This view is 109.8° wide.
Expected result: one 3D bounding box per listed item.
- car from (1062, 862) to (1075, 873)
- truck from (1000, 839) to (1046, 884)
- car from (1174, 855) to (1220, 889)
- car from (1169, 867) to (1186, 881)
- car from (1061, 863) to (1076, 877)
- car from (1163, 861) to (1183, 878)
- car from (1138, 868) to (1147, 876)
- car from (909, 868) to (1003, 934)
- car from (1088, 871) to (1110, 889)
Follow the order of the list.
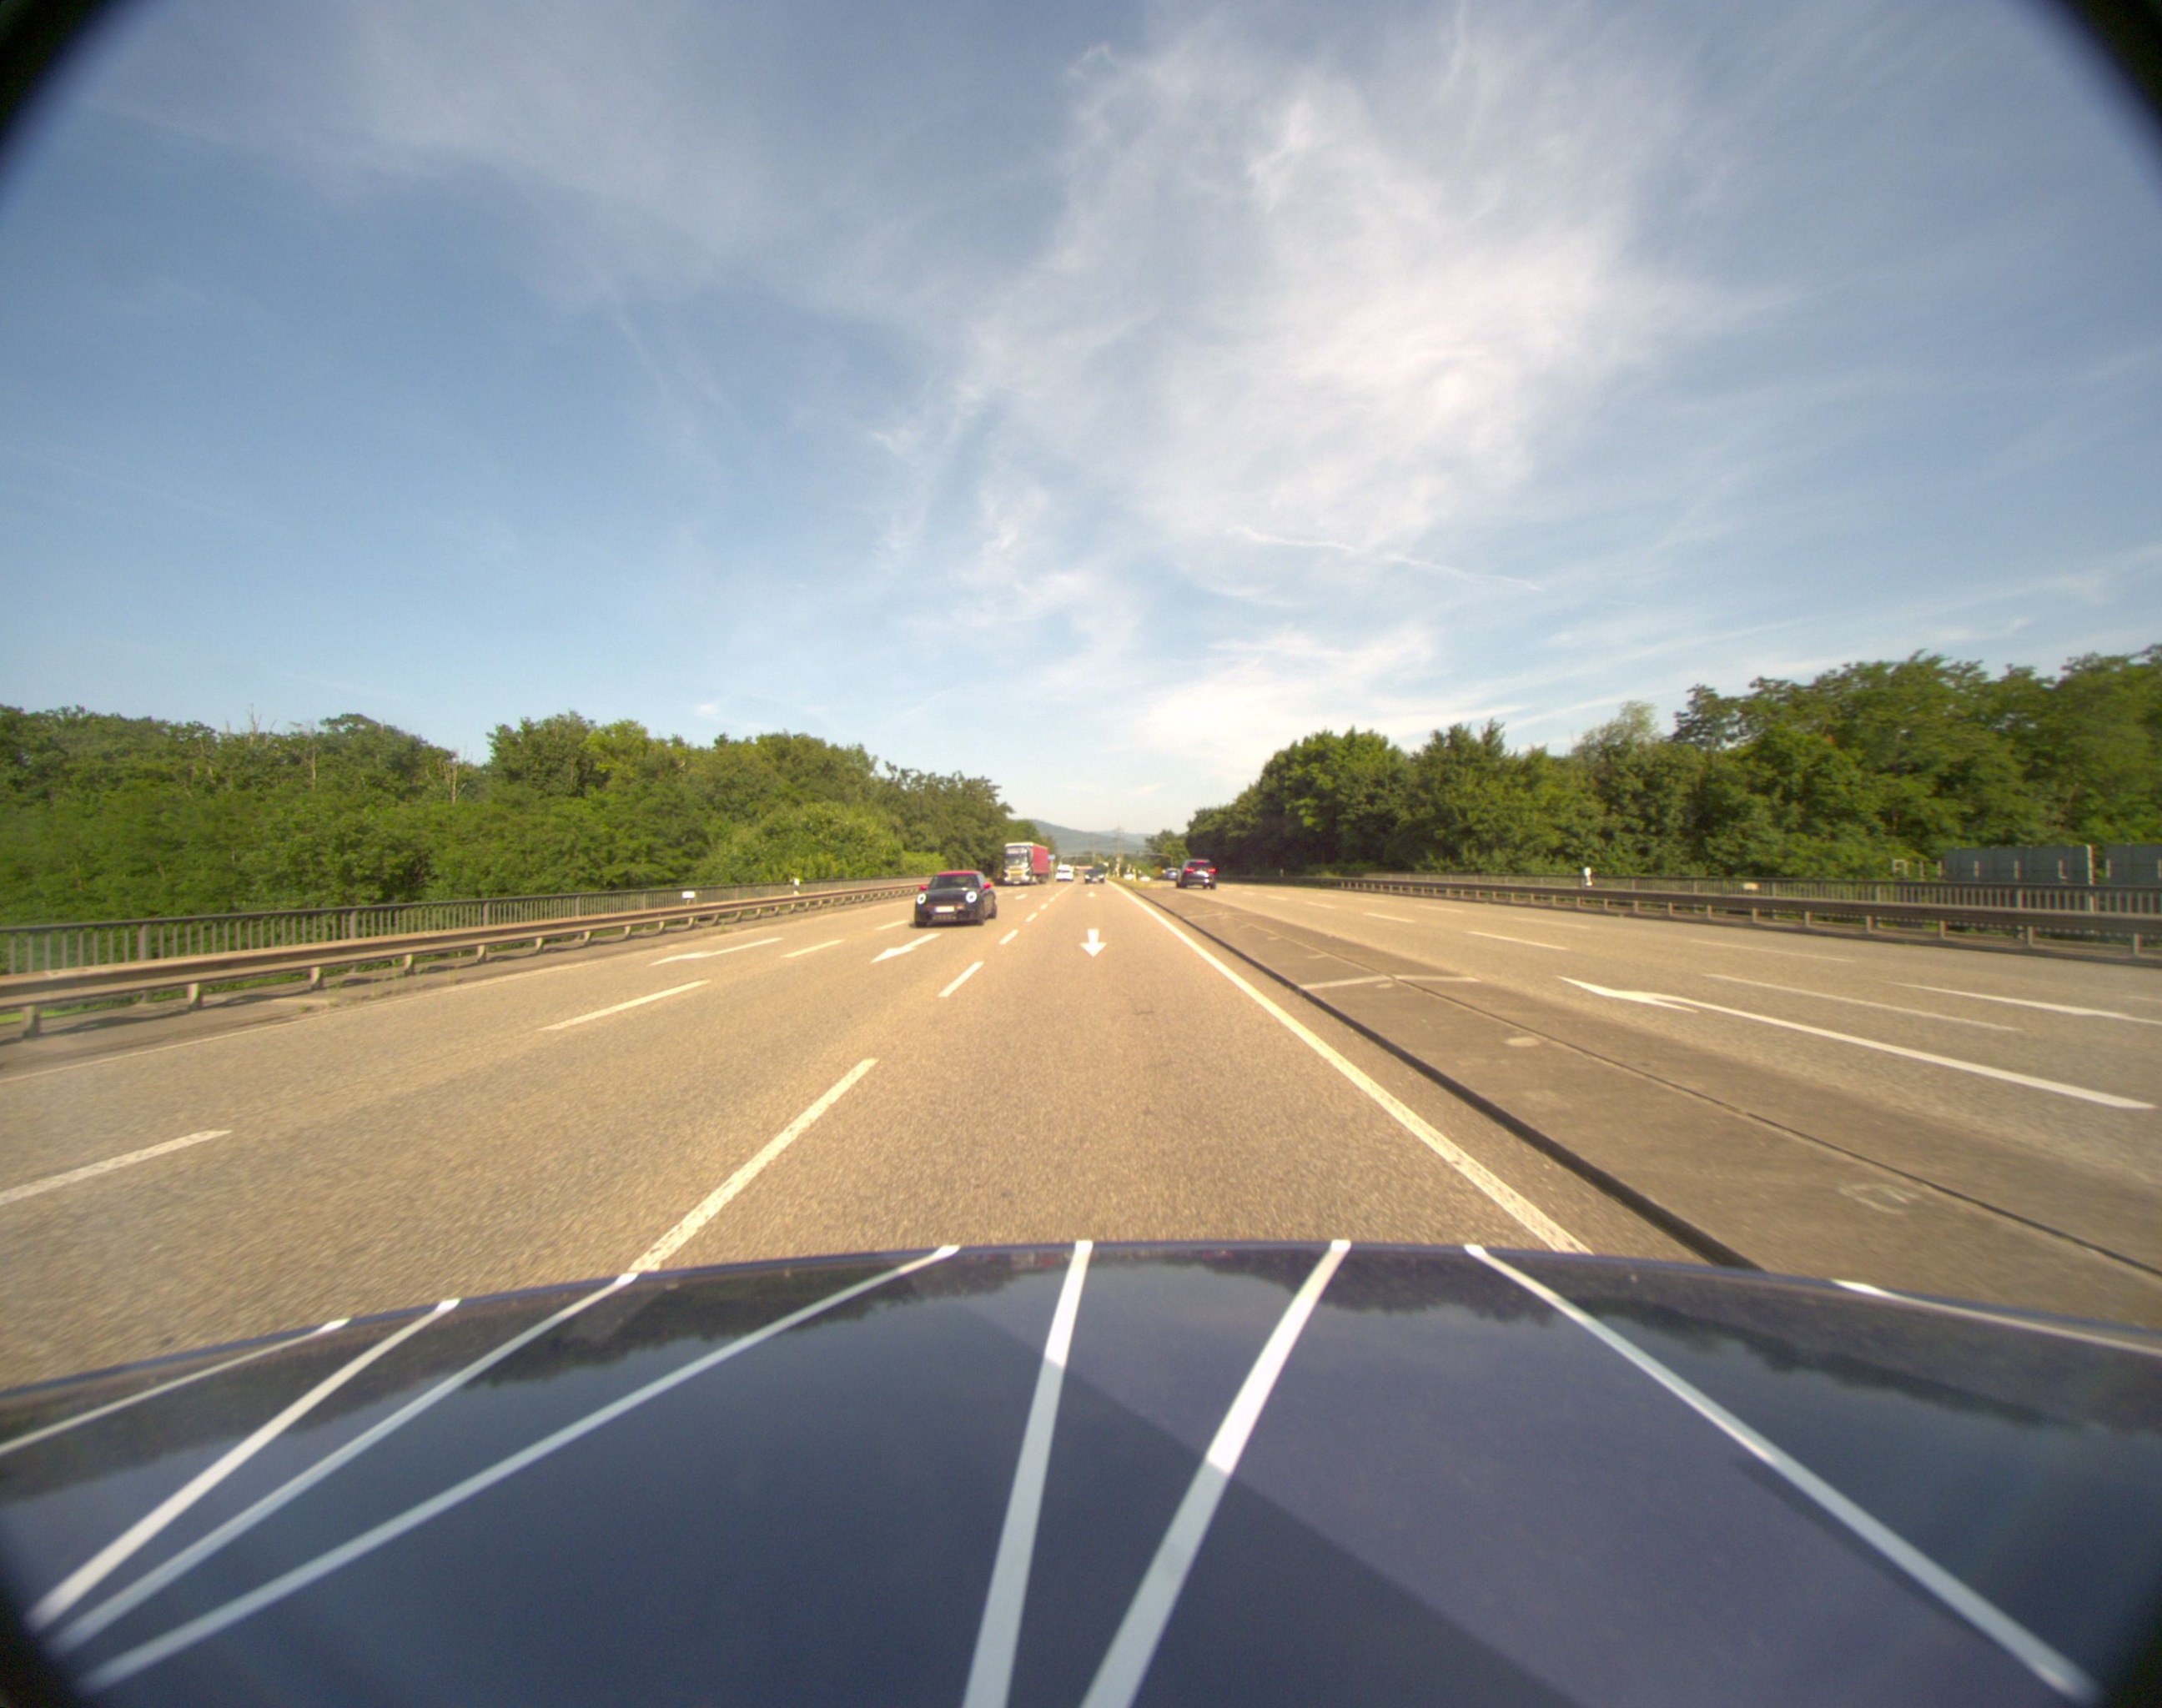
[{"bbox_3d":[-1.979,2.062,120.456,1.875,1.625,4.833,0,1,0],"label":"car"},{"bbox_3d":[-5.674,0.602,76.697,3.196,3.996,14.562,-2,1,1],"label":"truck"},{"bbox_3d":[6.943,1.031,45.962,1.998,1.818,4.618,-2,1,0],"label":"car"},{"bbox_3d":[13.963,2.846,110.382,1.919,1.818,4.419,-2,1,0],"label":"car"},{"bbox_3d":[-1.548,2.041,97.147,1.875,1.625,4.833,0,1,0],"label":"car"},{"bbox_3d":[11.252,1.882,93.362,1.919,1.818,4.419,-2,1,0],"label":"car"},{"bbox_3d":[15.909,4.786,198.087,1.919,1.818,4.419,-2,1,0],"label":"car"},{"bbox_3d":[-3.308,1.197,20.818,1.824,1.459,3.872,-2,1,1],"label":"car"},{"bbox_3d":[1.638,2.403,70.565,1.861,1.452,4.569,-2,1,1],"label":"car"}]
